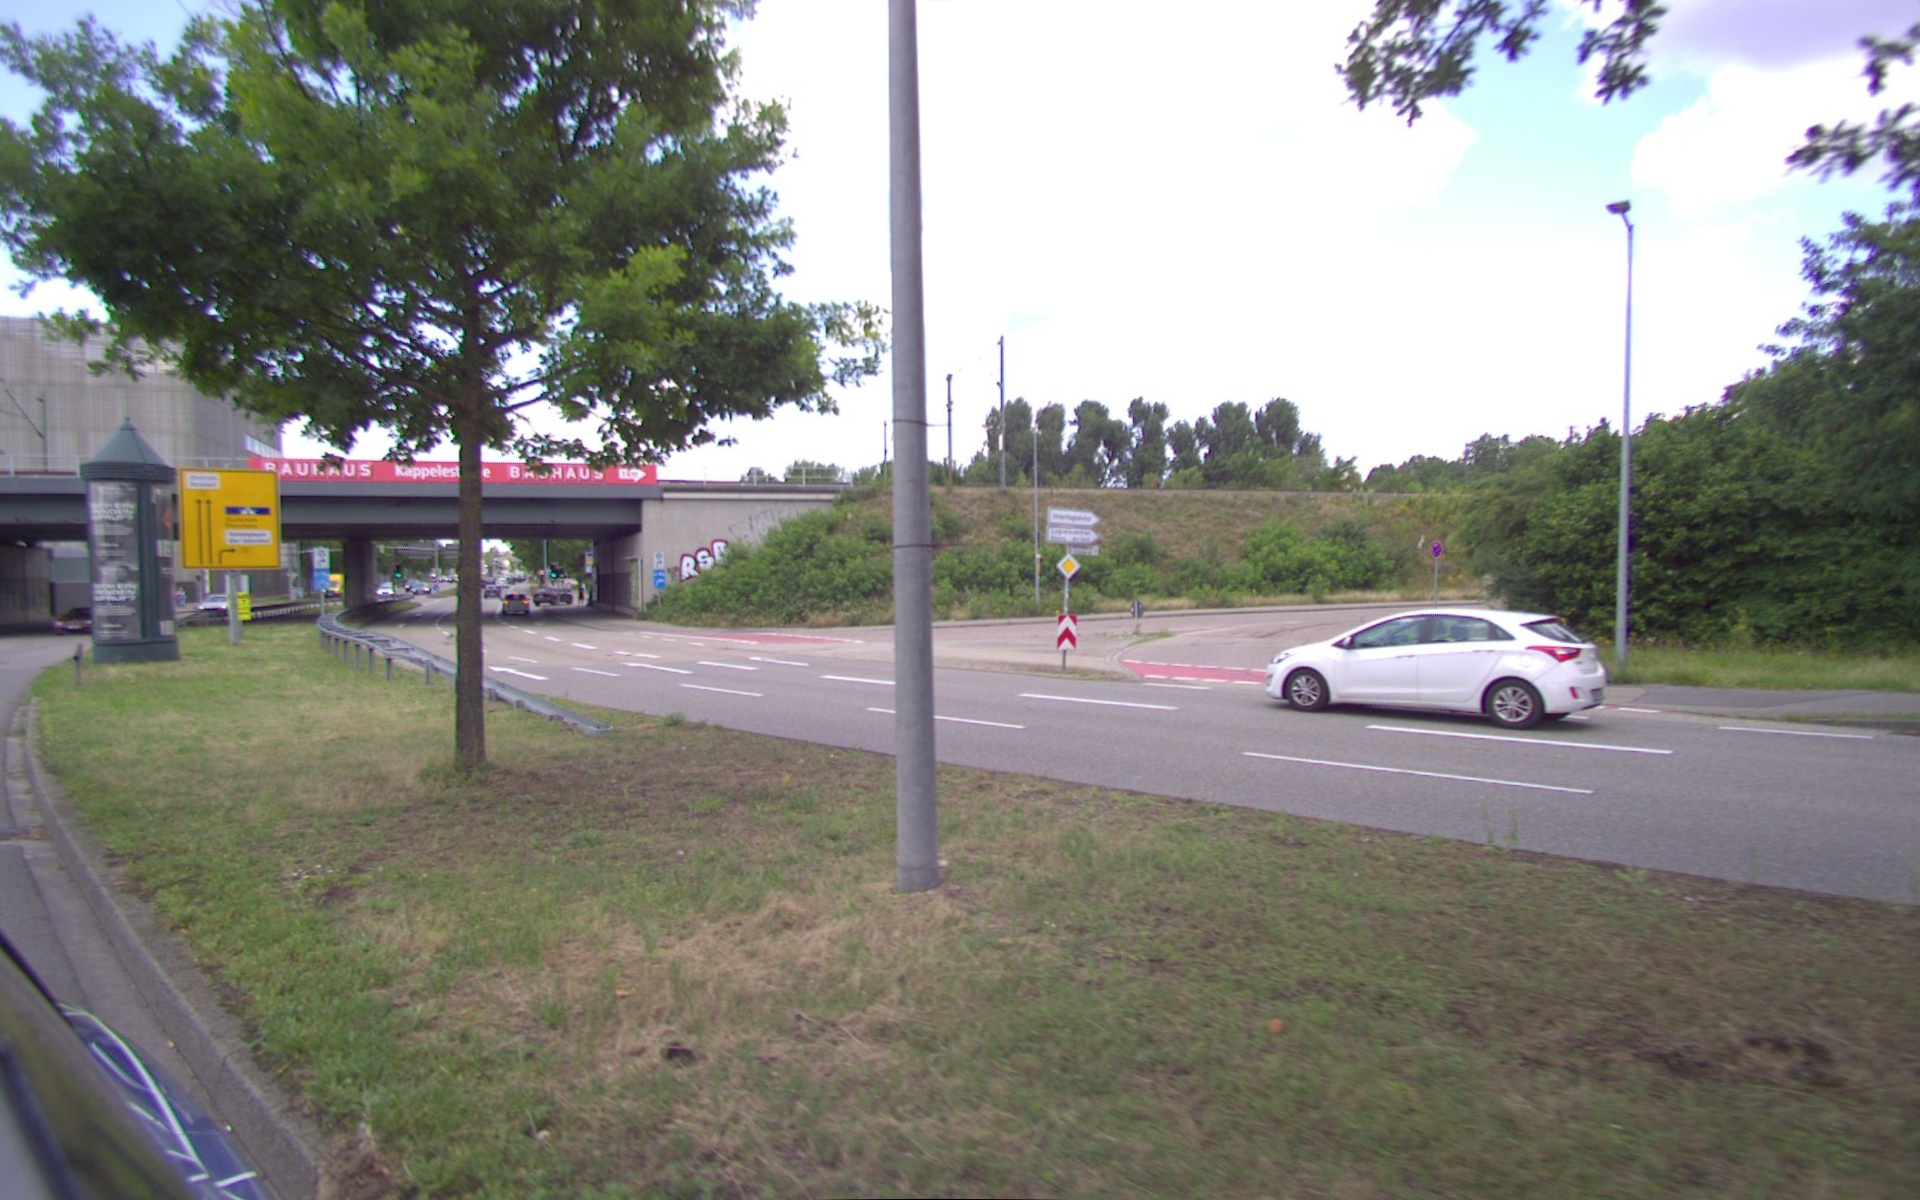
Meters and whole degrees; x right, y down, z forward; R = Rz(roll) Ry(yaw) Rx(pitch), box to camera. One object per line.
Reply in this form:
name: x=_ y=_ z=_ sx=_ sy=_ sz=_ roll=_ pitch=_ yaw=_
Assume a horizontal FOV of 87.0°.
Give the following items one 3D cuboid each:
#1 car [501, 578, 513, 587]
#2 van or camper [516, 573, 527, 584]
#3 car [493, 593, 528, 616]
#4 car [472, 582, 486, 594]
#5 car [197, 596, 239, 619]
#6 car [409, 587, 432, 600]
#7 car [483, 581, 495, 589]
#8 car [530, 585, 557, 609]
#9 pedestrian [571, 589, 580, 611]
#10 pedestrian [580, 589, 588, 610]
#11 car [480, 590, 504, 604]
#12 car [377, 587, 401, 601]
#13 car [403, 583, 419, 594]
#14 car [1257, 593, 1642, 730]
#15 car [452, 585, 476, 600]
car: x=-89.256 y=-3.435 z=199.548 sx=1.899 sy=1.540 sz=4.014 roll=-3 pitch=3 yaw=-21
van or camper: x=-106.006 y=-5.211 z=244.762 sx=2.319 sy=2.558 sz=7.088 roll=-2 pitch=2 yaw=-24
car: x=-31.155 y=0.318 z=70.107 sx=1.728 sy=1.522 sz=4.012 roll=-1 pitch=1 yaw=-31
car: x=-75.548 y=-1.855 z=159.088 sx=1.965 sy=1.772 sz=4.733 roll=-1 pitch=1 yaw=-25
car: x=-54.160 y=0.526 z=73.885 sx=1.685 sy=1.507 sz=3.663 roll=-1 pitch=1 yaw=-23
car: x=-65.641 y=-0.775 z=123.235 sx=1.965 sy=1.425 sz=4.848 roll=-3 pitch=2 yaw=-23
car: x=-89.732 y=-2.822 z=192.754 sx=1.946 sy=1.399 sz=4.797 roll=0 pitch=1 yaw=-23
car: x=-36.338 y=-0.263 z=88.265 sx=1.965 sy=2.029 sz=4.351 roll=-1 pitch=1 yaw=-25
pedestrian: x=-29.893 y=-0.024 z=78.705 sx=0.582 sy=1.693 sz=0.558 roll=-1 pitch=1 yaw=-26
pedestrian: x=-29.337 y=-0.019 z=78.995 sx=0.546 sy=1.637 sz=0.588 roll=-1 pitch=1 yaw=-22
car: x=-51.573 y=-0.356 z=111.679 sx=1.920 sy=1.384 sz=4.013 roll=-3 pitch=3 yaw=-18
car: x=-65.815 y=-0.672 z=116.662 sx=1.888 sy=1.425 sz=4.310 roll=-5 pitch=3 yaw=-23
car: x=-77.860 y=-1.707 z=143.560 sx=1.753 sy=1.507 sz=3.610 roll=-1 pitch=1 yaw=-23
car: x=6.482 y=0.710 z=13.700 sx=4.332 sy=1.544 sz=1.972 roll=0 pitch=-1 yaw=43
car: x=-59.345 y=-0.947 z=121.072 sx=1.966 sy=1.687 sz=4.337 roll=-1 pitch=1 yaw=-18
